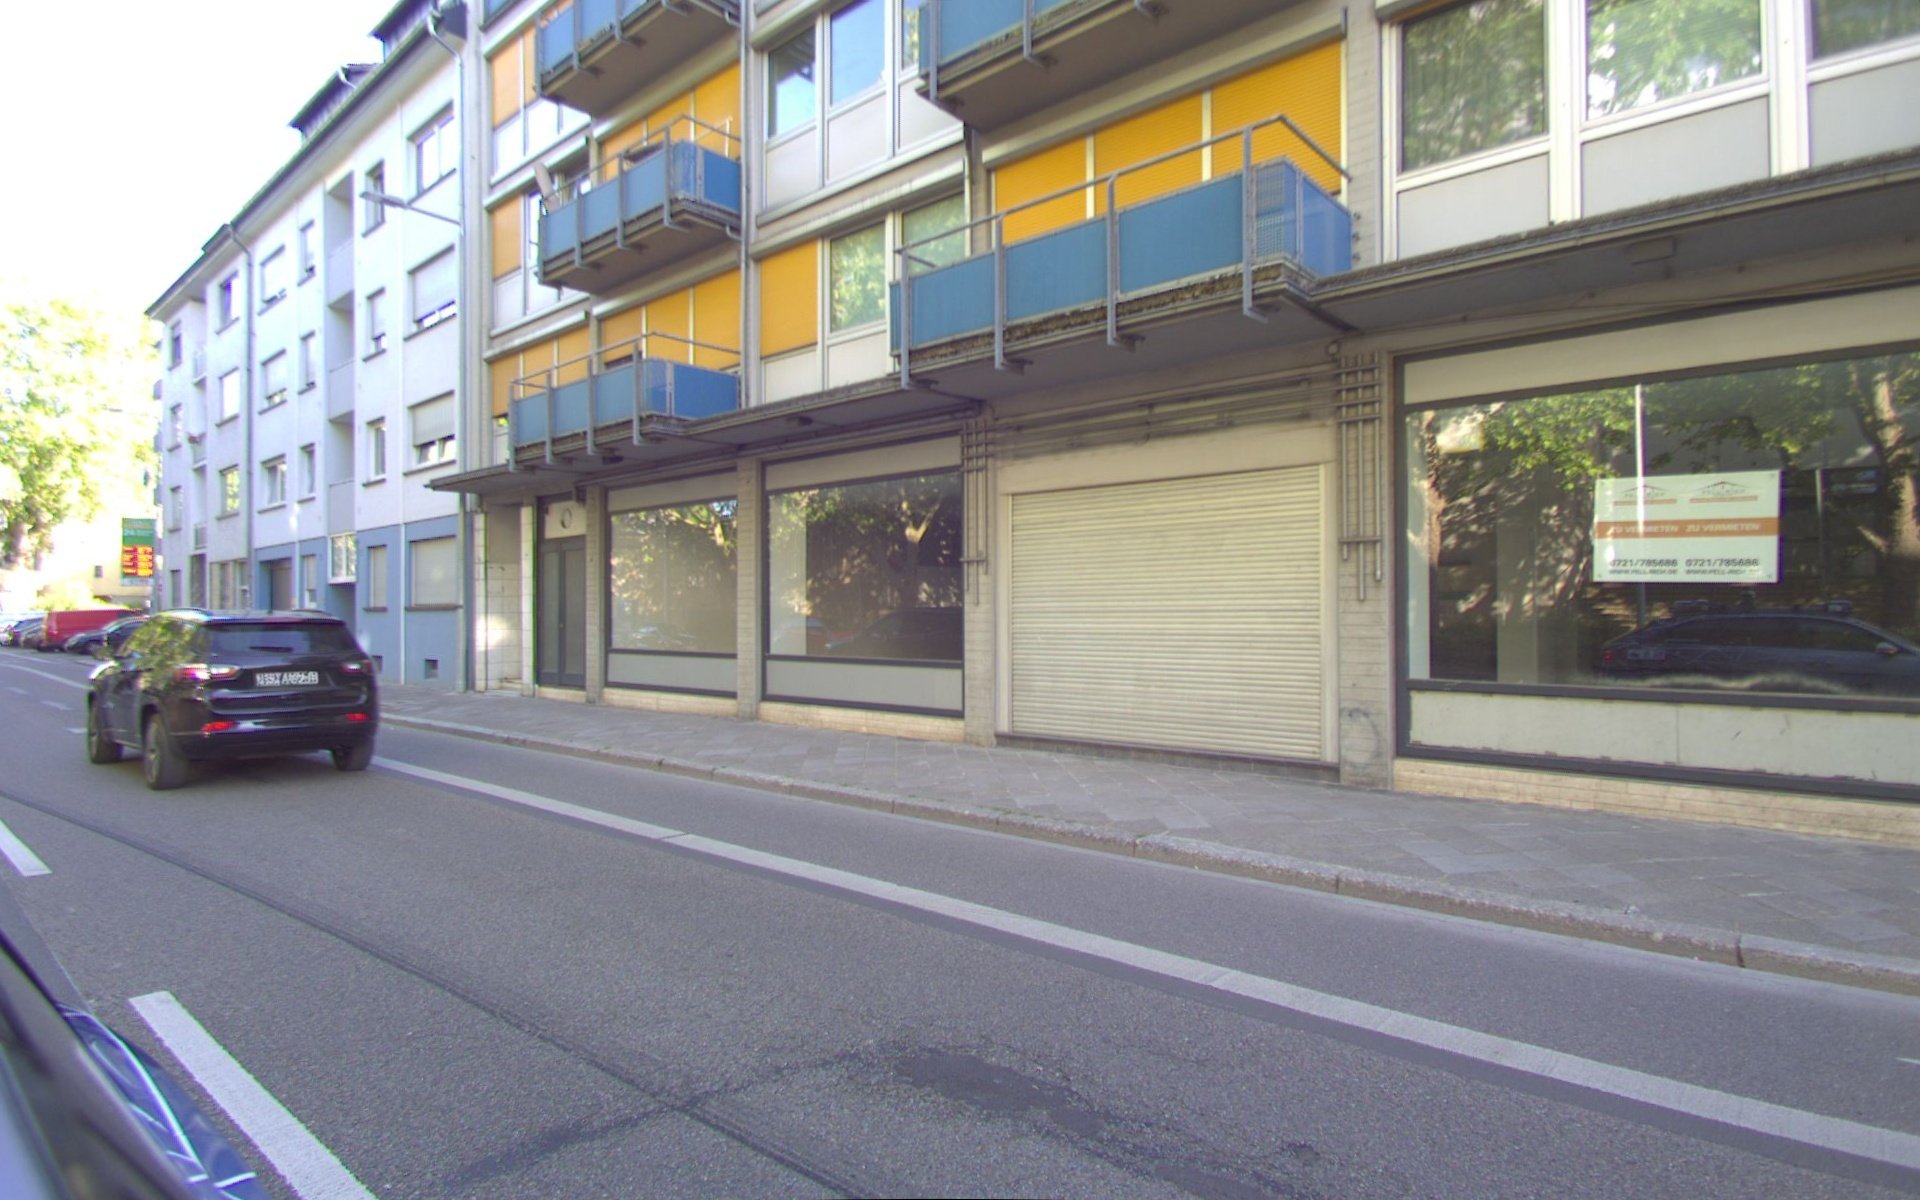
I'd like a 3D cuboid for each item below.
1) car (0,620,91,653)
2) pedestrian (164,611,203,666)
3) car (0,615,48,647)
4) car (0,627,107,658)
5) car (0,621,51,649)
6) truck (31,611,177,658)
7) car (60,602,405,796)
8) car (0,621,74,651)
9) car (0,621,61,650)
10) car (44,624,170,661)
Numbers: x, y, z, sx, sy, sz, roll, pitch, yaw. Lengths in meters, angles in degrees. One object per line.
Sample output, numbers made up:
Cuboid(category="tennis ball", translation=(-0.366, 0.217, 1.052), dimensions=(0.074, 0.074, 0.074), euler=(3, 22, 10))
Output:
Cuboid(category="car", translation=(-50.829, 1.990, 55.968), dimensions=(1.699, 1.640, 3.952), euler=(-1, 0, 35))
Cuboid(category="pedestrian", translation=(-25.761, 1.267, 33.573), dimensions=(0.741, 1.785, 0.884), euler=(-1, 0, 41))
Cuboid(category="car", translation=(-59.722, 1.957, 63.793), dimensions=(1.693, 1.953, 3.224), euler=(-1, 0, 43))
Cuboid(category="car", translation=(-43.497, 2.002, 48.286), dimensions=(1.904, 1.282, 3.983), euler=(-1, 0, 39))
Cuboid(category="car", translation=(-56.895, 2.112, 60.394), dimensions=(1.740, 1.600, 3.685), euler=(-1, 0, 35))
Cuboid(category="truck", translation=(-40.357, 1.574, 47.837), dimensions=(1.998, 2.036, 5.024), euler=(-1, 0, 40))
Cuboid(category="car", translation=(-7.636, 0.844, 10.465), dimensions=(4.381, 1.582, 1.831), euler=(-1, 0, 39))
Cuboid(category="car", translation=(-52.890, 2.027, 57.472), dimensions=(1.656, 1.599, 3.615), euler=(-1, 0, 35))
Cuboid(category="car", translation=(-55.074, 2.072, 59.001), dimensions=(1.715, 1.594, 3.660), euler=(-1, 0, 35))
Cuboid(category="car", translation=(-36.843, 1.818, 43.790), dimensions=(1.780, 1.404, 3.947), euler=(-1, 0, 39))
